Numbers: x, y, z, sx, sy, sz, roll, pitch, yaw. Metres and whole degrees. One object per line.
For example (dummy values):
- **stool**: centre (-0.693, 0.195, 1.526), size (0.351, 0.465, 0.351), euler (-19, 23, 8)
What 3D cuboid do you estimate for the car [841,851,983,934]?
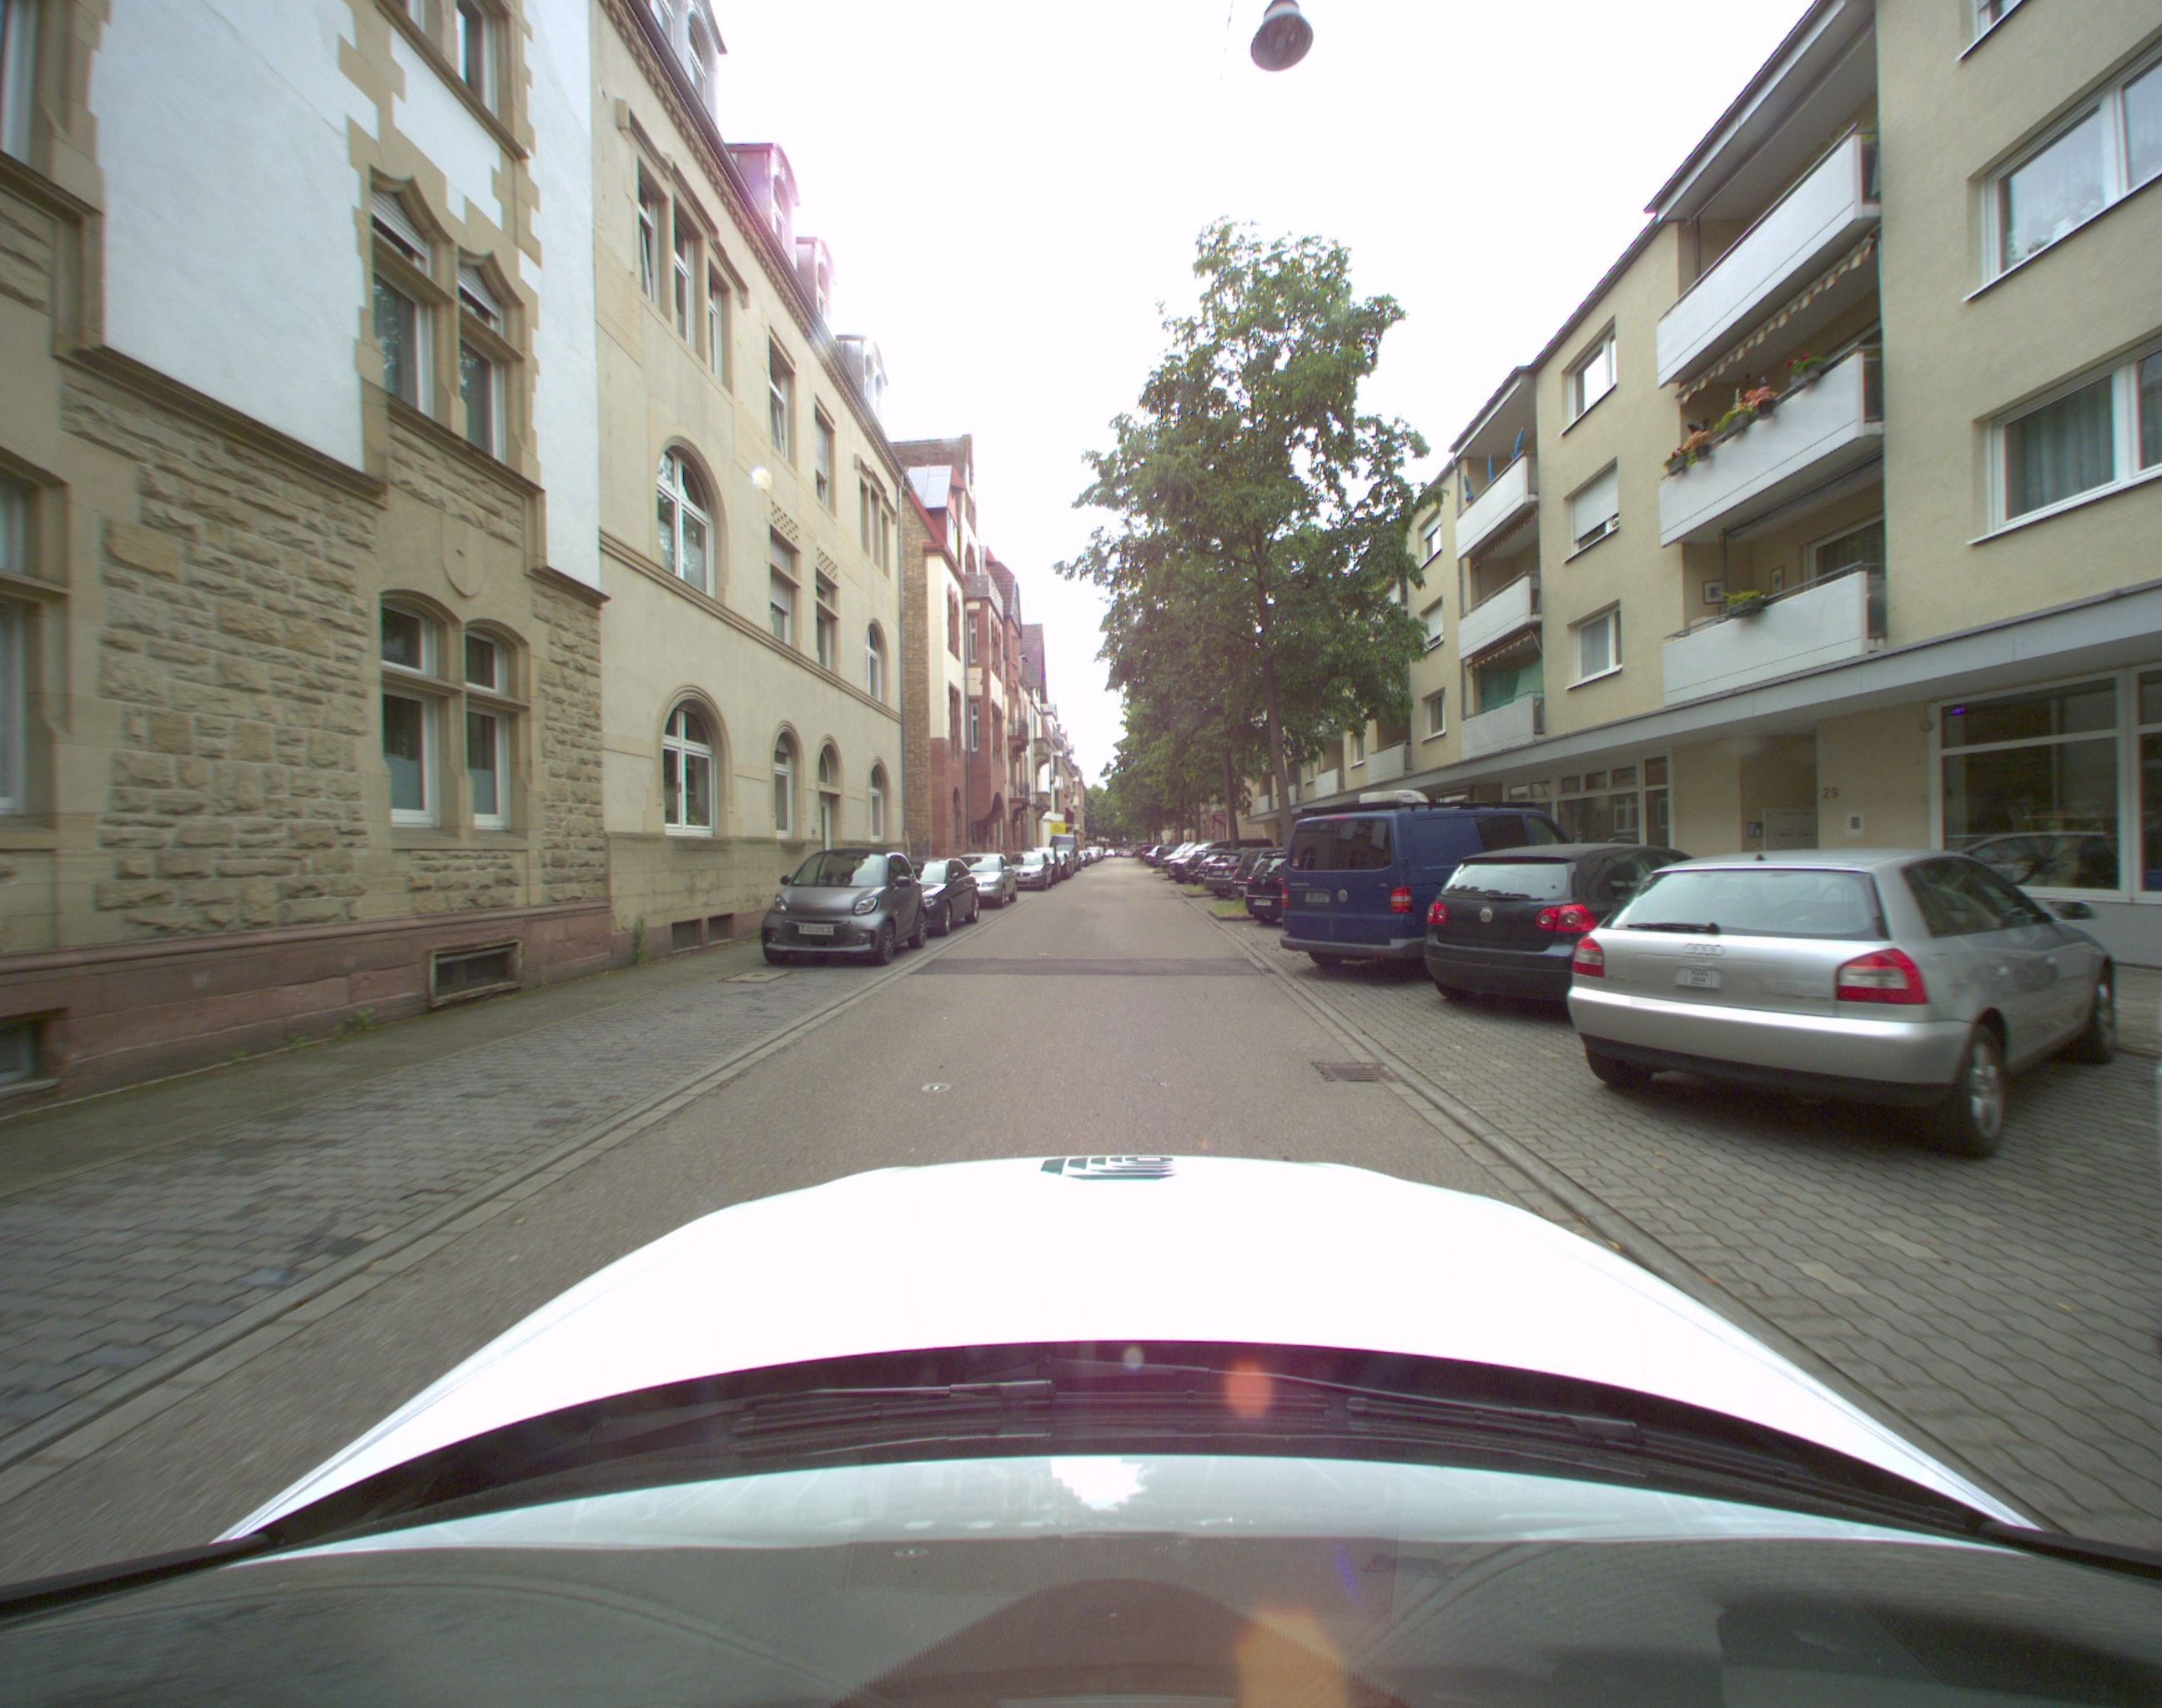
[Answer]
- **car**: centre (-3.101, 0.678, 15.755), size (1.719, 1.386, 3.932), euler (0, -1, 3)

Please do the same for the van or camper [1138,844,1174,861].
- **van or camper**: centre (9.512, -0.221, 103.535), size (4.168, 2.085, 1.936), euler (-1, 0, -26)

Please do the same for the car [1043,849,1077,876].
- **car**: centre (-1.192, 0.514, 47.468), size (1.661, 1.473, 4.003), euler (0, -1, 3)

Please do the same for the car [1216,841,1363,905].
- **car**: centre (5.642, 0.483, 22.128), size (3.371, 1.496, 1.839), euler (-3, 0, -20)

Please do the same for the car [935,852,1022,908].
- **car**: centre (-2.741, 0.646, 22.683), size (1.719, 1.386, 4.140), euler (0, 1, 3)

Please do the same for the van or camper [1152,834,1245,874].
- **van or camper**: centre (6.584, 0.004, 45.755), size (4.750, 1.994, 1.984), euler (-3, -2, -23)

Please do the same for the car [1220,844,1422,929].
- **car**: centre (4.936, 0.580, 16.517), size (4.133, 1.442, 1.832), euler (-2, 0, -38)

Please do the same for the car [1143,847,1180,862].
- **car**: centre (8.824, 0.042, 89.478), size (3.752, 1.465, 1.727), euler (-1, 0, -3)

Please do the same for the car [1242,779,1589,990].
- **car**: centre (4.530, 0.203, 10.694), size (4.729, 2.196, 2.044), euler (-4, 1, -38)

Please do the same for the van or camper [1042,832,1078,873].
- **van or camper**: centre (-1.402, -0.129, 56.759), size (2.000, 2.651, 5.320), euler (-1, 0, 3)

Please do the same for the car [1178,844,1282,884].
- **car**: centre (6.234, 0.399, 34.086), size (3.870, 1.502, 1.896), euler (-2, 0, -27)

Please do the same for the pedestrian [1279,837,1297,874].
- **pedestrian**: centre (9.929, 0.081, 39.120), size (0.621, 1.742, 0.849), euler (-2, 0, 3)

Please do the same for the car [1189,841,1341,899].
- **car**: centre (5.689, 0.475, 25.191), size (4.234, 1.500, 1.959), euler (-3, 0, -25)

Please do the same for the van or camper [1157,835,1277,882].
- **van or camper**: centre (6.191, 0.196, 37.053), size (5.031, 1.869, 2.109), euler (-3, 0, -25)

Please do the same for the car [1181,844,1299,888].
- **car**: centre (6.079, 0.448, 31.166), size (4.057, 1.483, 1.933), euler (-2, 0, -24)

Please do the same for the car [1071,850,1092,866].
- **car**: centre (0.074, 0.347, 79.009), size (1.822, 1.426, 3.803), euler (2, 0, 2)

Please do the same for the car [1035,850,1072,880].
- **car**: centre (-1.412, 0.553, 42.920), size (1.628, 1.473, 4.003), euler (0, 0, 3)

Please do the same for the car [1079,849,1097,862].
- **car**: centre (0.821, 0.180, 96.900), size (1.985, 1.475, 4.003), euler (-1, 0, 3)

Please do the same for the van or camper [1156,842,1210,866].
- **van or camper**: centre (9.638, 0.020, 77.039), size (4.803, 2.137, 2.037), euler (1, 1, -29)

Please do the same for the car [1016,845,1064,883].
- **car**: centre (-1.856, 0.424, 37.869), size (1.779, 1.646, 4.365), euler (0, 1, 3)

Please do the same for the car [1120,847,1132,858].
- **car**: centre (8.022, -0.292, 146.409), size (1.986, 1.794, 4.001), euler (1, -1, 1)

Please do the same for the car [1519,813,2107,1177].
- **car**: centre (4.724, 0.550, 5.146), size (3.830, 1.417, 1.708), euler (-4, 1, -31)

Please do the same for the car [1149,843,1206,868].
- **car**: centre (7.994, 0.122, 67.308), size (4.195, 1.869, 1.982), euler (-3, 0, -27)

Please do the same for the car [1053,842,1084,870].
- **car**: centre (-0.913, 0.133, 62.256), size (1.985, 2.013, 4.895), euler (-1, 0, 3)

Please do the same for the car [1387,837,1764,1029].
- **car**: centre (4.989, 0.613, 8.126), size (3.679, 1.480, 1.672), euler (-2, 0, -31)

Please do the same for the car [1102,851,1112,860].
- **car**: centre (4.877, 0.344, 153.777), size (1.814, 1.645, 3.755), euler (0, -1, 2)

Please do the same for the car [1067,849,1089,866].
- **car**: centre (-0.247, 0.302, 73.972), size (1.782, 1.480, 4.024), euler (0, 0, 2)

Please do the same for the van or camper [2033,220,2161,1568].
- **van or camper**: centre (4.465, 0.031, 2.027), size (4.611, 2.596, 1.893), euler (-1, 0, -30)

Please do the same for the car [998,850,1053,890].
- **car**: centre (-2.079, 0.560, 31.471), size (1.656, 1.420, 3.932), euler (0, 1, 3)

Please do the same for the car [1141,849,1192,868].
- **car**: centre (7.345, 0.355, 70.165), size (4.034, 1.559, 1.867), euler (-1, 0, -28)

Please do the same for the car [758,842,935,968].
- **car**: centre (-3.272, 0.635, 11.907), size (1.640, 1.570, 2.958), euler (1, 1, 2)

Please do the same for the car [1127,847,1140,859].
- **car**: centre (9.086, -0.130, 140.654), size (1.986, 2.013, 4.002), euler (2, 0, 2)
